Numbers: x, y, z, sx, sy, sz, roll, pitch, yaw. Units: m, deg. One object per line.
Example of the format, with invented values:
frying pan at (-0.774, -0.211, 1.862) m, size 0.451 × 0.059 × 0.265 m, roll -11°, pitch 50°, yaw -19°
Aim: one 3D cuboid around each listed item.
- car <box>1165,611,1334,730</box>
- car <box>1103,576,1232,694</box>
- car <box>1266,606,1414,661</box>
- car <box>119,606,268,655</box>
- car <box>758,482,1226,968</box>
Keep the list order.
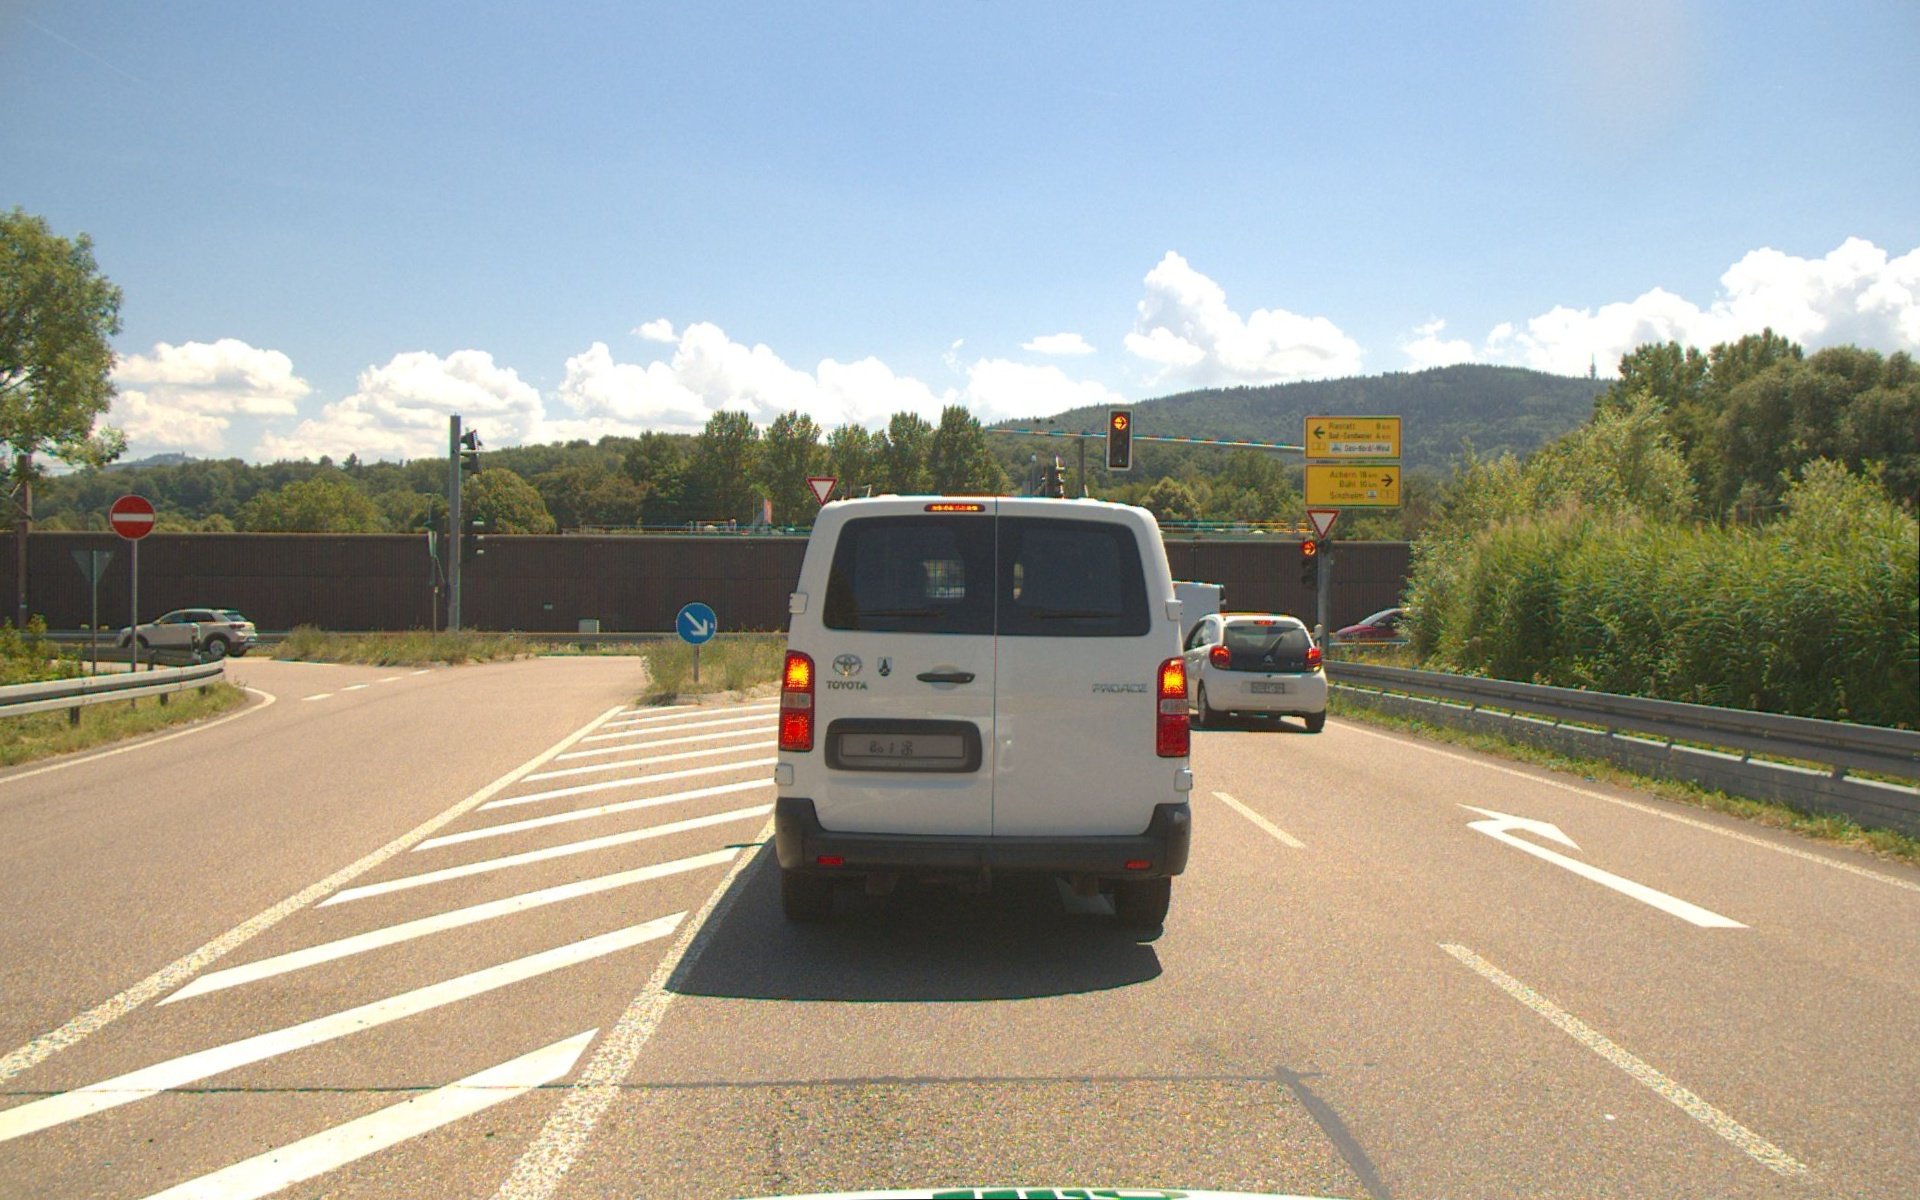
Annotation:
car at (3.816, 0.890, 22.294) m, size 1.622 × 1.456 × 3.365 m, roll 1°, pitch 0°, yaw -1°
car at (3.824, 0.629, 31.231) m, size 1.889 × 2.035 × 4.838 m, roll 1°, pitch 0°, yaw 1°
car at (12.124, 1.071, 52.924) m, size 4.224 × 1.685 × 1.998 m, roll 1°, pitch 0°, yaw -4°
car at (-24.971, 0.989, 53.975) m, size 3.908 × 1.511 × 1.998 m, roll 1°, pitch -1°, yaw -4°
car at (0.099, 0.518, 8.639) m, size 1.848 × 1.919 × 3.999 m, roll 1°, pitch 0°, yaw -1°
